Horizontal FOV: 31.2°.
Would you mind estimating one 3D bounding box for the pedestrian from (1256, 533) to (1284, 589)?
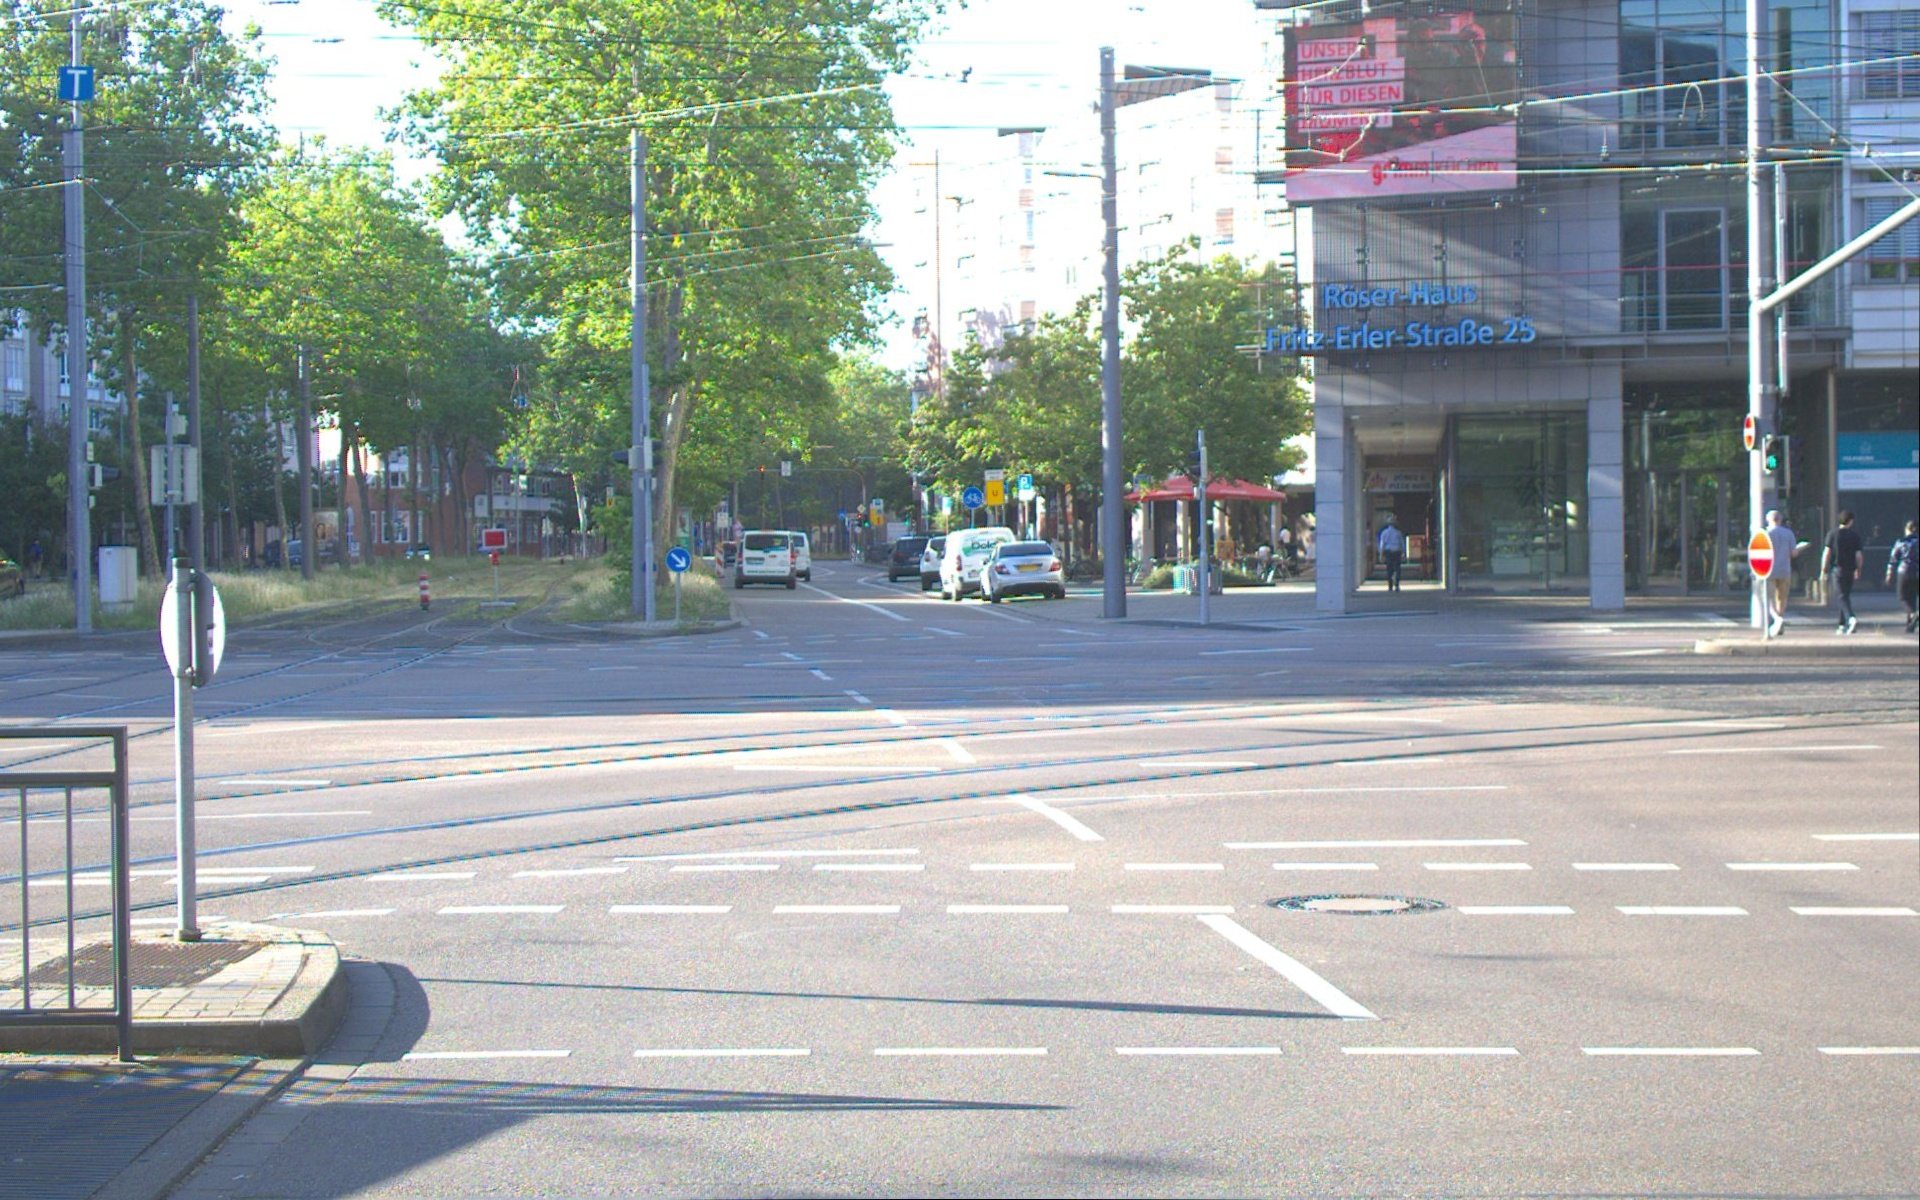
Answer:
[{"bbox_3d":[9.463,-1.198,104.966,0.744,1.708,0.612,-1,1,-1],"label":"pedestrian"}]

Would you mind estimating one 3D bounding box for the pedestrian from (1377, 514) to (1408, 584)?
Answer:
[{"bbox_3d":[9.408,-1.116,74.797,0.612,1.502,0.579,-1,1,10],"label":"pedestrian"}]

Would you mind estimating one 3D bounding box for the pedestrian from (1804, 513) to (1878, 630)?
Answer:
[{"bbox_3d":[12.951,-0.425,50.558,0.912,1.679,1.035,-1,1,7],"label":"pedestrian"}]

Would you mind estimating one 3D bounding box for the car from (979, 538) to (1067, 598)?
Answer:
[{"bbox_3d":[1.495,-0.787,82.775,1.993,1.371,4.000,-1,1,-1],"label":"car"}]

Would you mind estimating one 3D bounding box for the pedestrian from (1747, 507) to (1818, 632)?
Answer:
[{"bbox_3d":[11.847,-0.441,49.538,0.864,1.782,0.871,-1,1,6],"label":"pedestrian"}]

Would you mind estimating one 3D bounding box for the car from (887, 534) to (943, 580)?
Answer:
[{"bbox_3d":[-1.639,-1.599,126.666,1.993,1.612,4.000,-1,1,0],"label":"car"}]

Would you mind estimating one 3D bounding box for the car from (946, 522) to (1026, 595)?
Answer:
[{"bbox_3d":[0.651,-1.096,89.570,1.993,1.853,4.000,-1,1,-1],"label":"car"}]

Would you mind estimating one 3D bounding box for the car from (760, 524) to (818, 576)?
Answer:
[{"bbox_3d":[-6.423,-1.892,129.728,1.993,1.905,4.000,-1,1,-1],"label":"car"}]

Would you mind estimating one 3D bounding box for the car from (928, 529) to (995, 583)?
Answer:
[{"bbox_3d":[0.039,-1.360,105.216,1.993,1.612,4.000,-1,1,0],"label":"car"}]

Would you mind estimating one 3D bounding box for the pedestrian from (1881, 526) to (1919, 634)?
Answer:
[{"bbox_3d":[14.003,-0.295,50.187,0.948,1.558,0.897,-1,1,6],"label":"pedestrian"}]

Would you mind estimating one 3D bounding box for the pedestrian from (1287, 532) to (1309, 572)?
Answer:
[{"bbox_3d":[10.811,-1.538,110.041,0.577,1.284,0.910,-1,1,-1],"label":"pedestrian"}]

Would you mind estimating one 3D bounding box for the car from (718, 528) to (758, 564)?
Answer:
[{"bbox_3d":[-12.537,-3.061,194.254,1.993,2.007,4.000,-1,1,-1],"label":"car"}]

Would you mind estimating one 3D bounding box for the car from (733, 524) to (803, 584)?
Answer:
[{"bbox_3d":[-6.089,-1.481,109.511,1.961,1.842,5.330,-1,1,0],"label":"car"}]

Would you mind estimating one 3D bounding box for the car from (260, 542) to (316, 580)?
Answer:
[{"bbox_3d":[-33.418,-1.966,171.077,1.993,1.809,4.000,-1,1,-1],"label":"car"}]

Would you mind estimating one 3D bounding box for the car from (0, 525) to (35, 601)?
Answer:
[{"bbox_3d":[-21.663,-0.798,74.924,1.993,1.634,4.000,-1,1,-1],"label":"car"}]
